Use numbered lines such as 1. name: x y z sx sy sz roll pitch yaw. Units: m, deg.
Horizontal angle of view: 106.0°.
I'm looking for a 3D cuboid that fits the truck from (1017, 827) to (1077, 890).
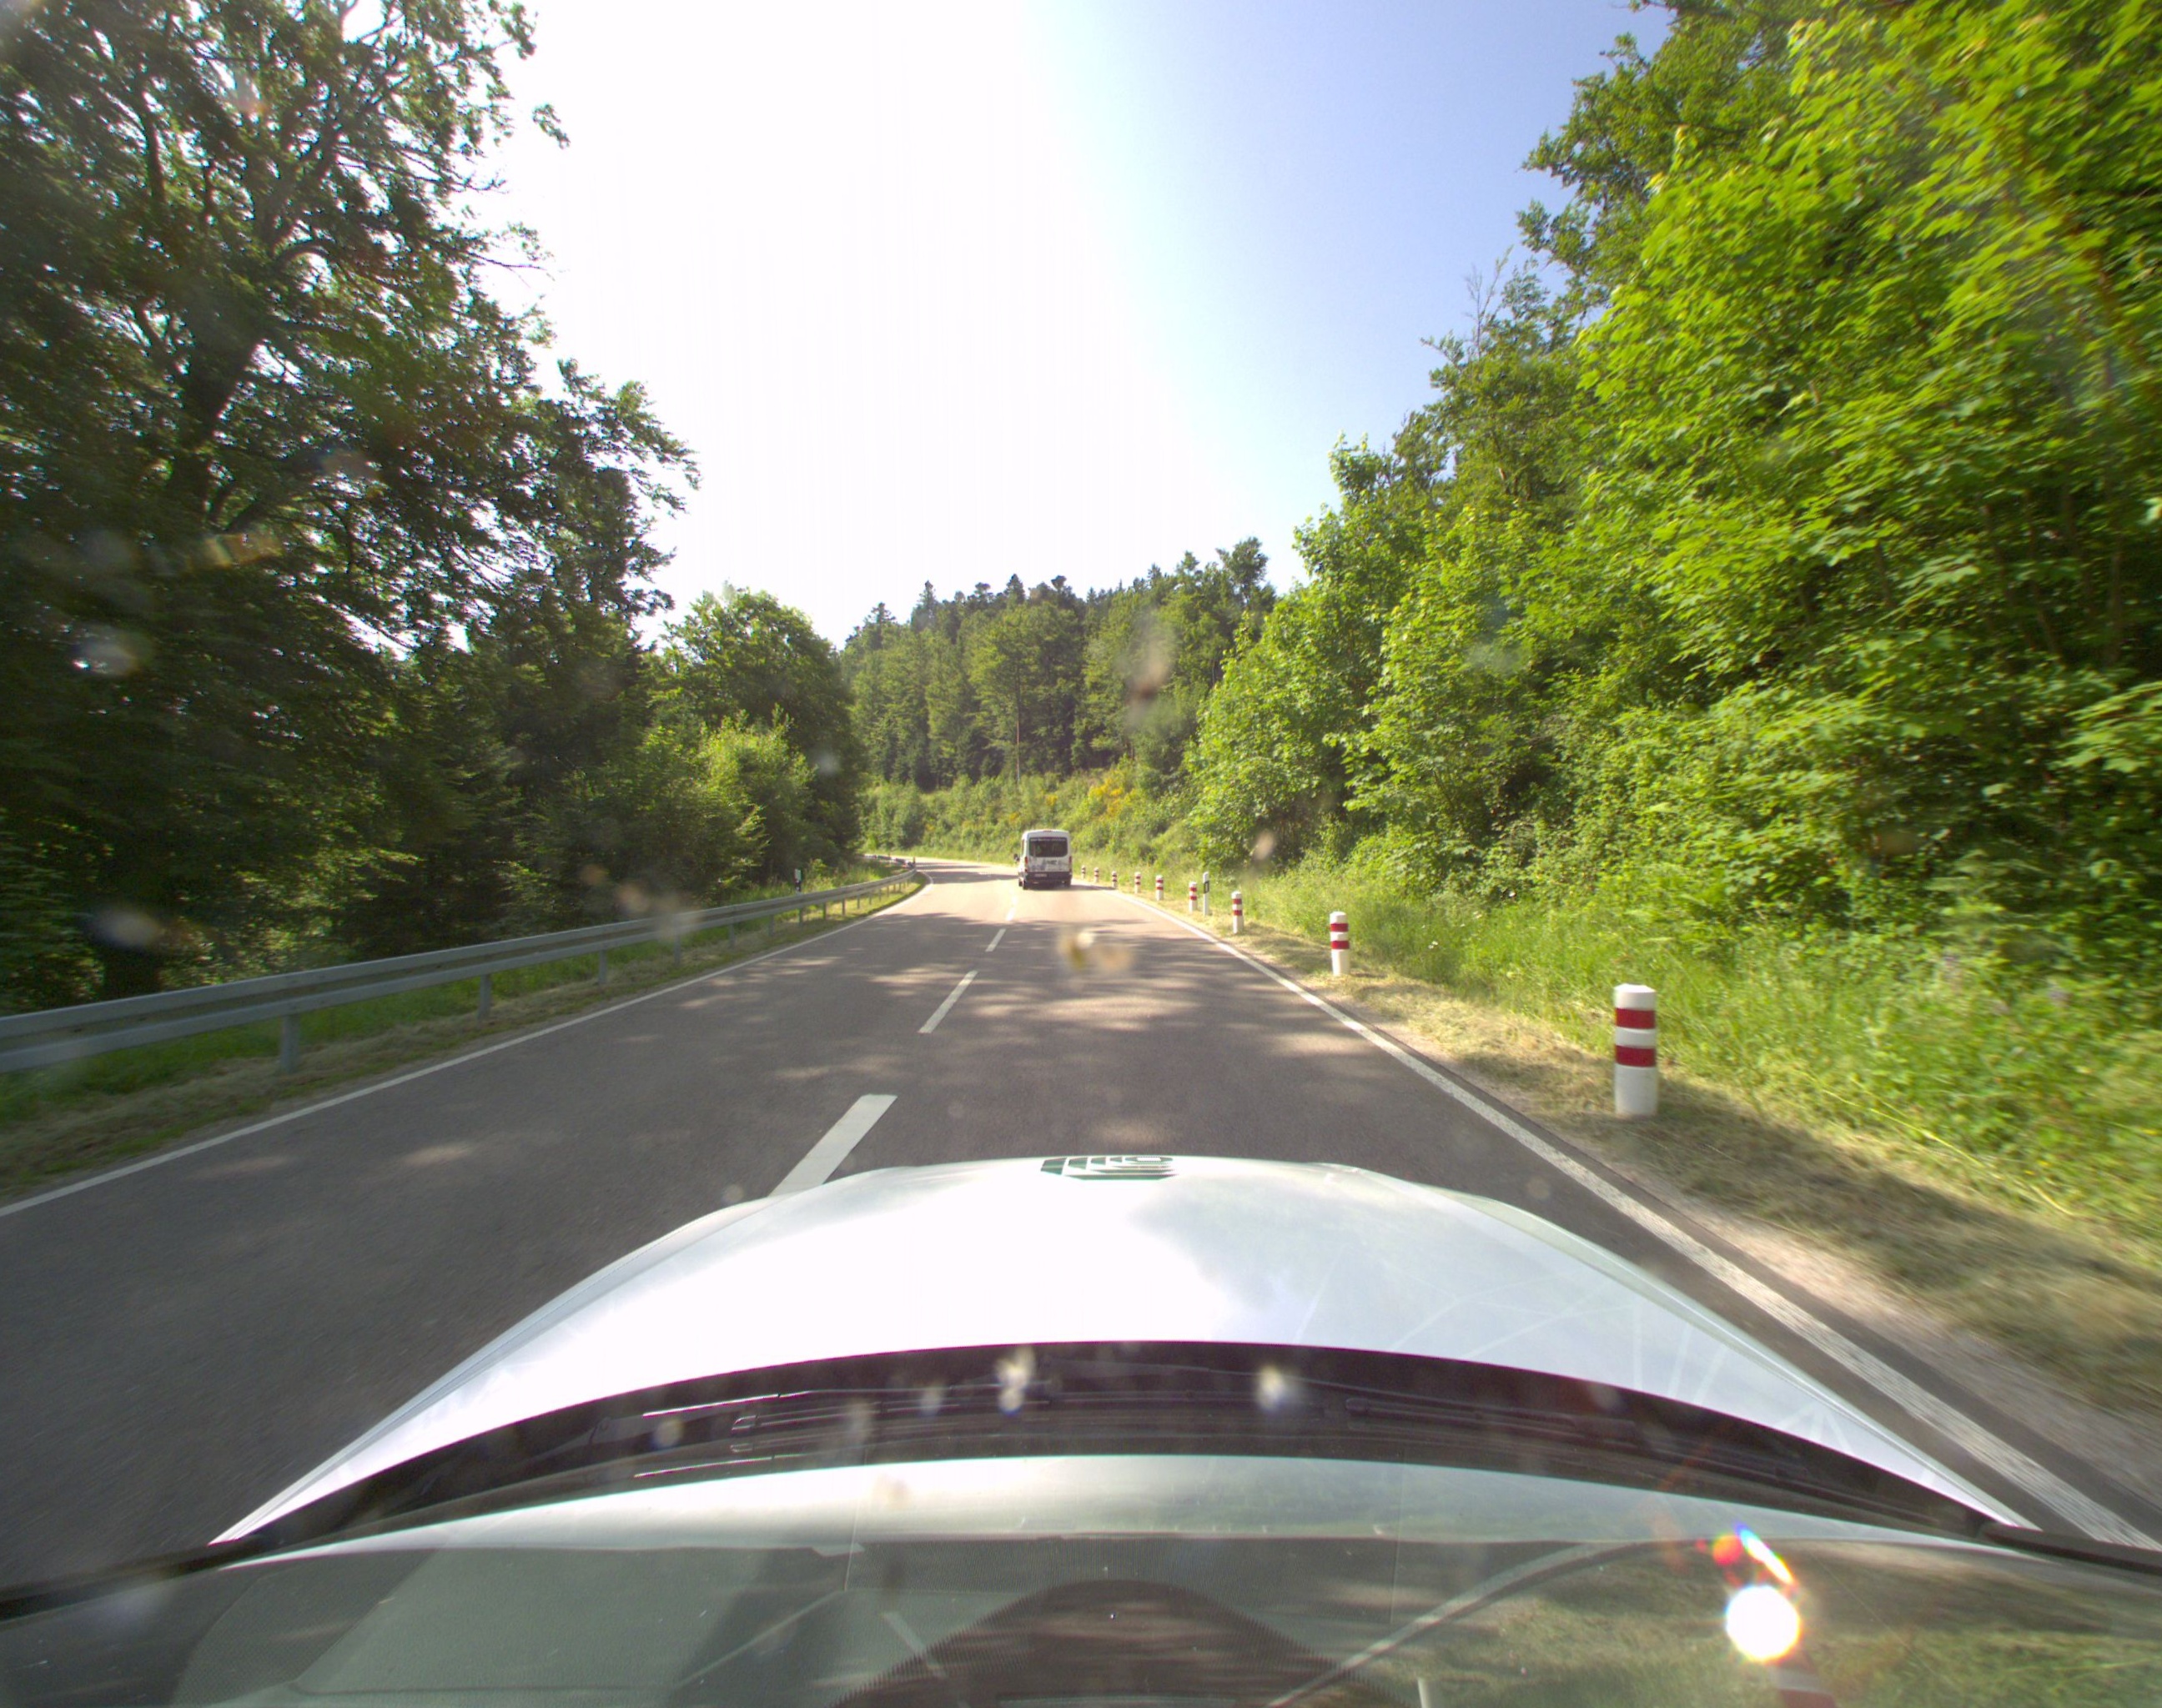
1. truck: -1.586 0.138 35.577 2.114 2.498 5.346 -1 1 -7
